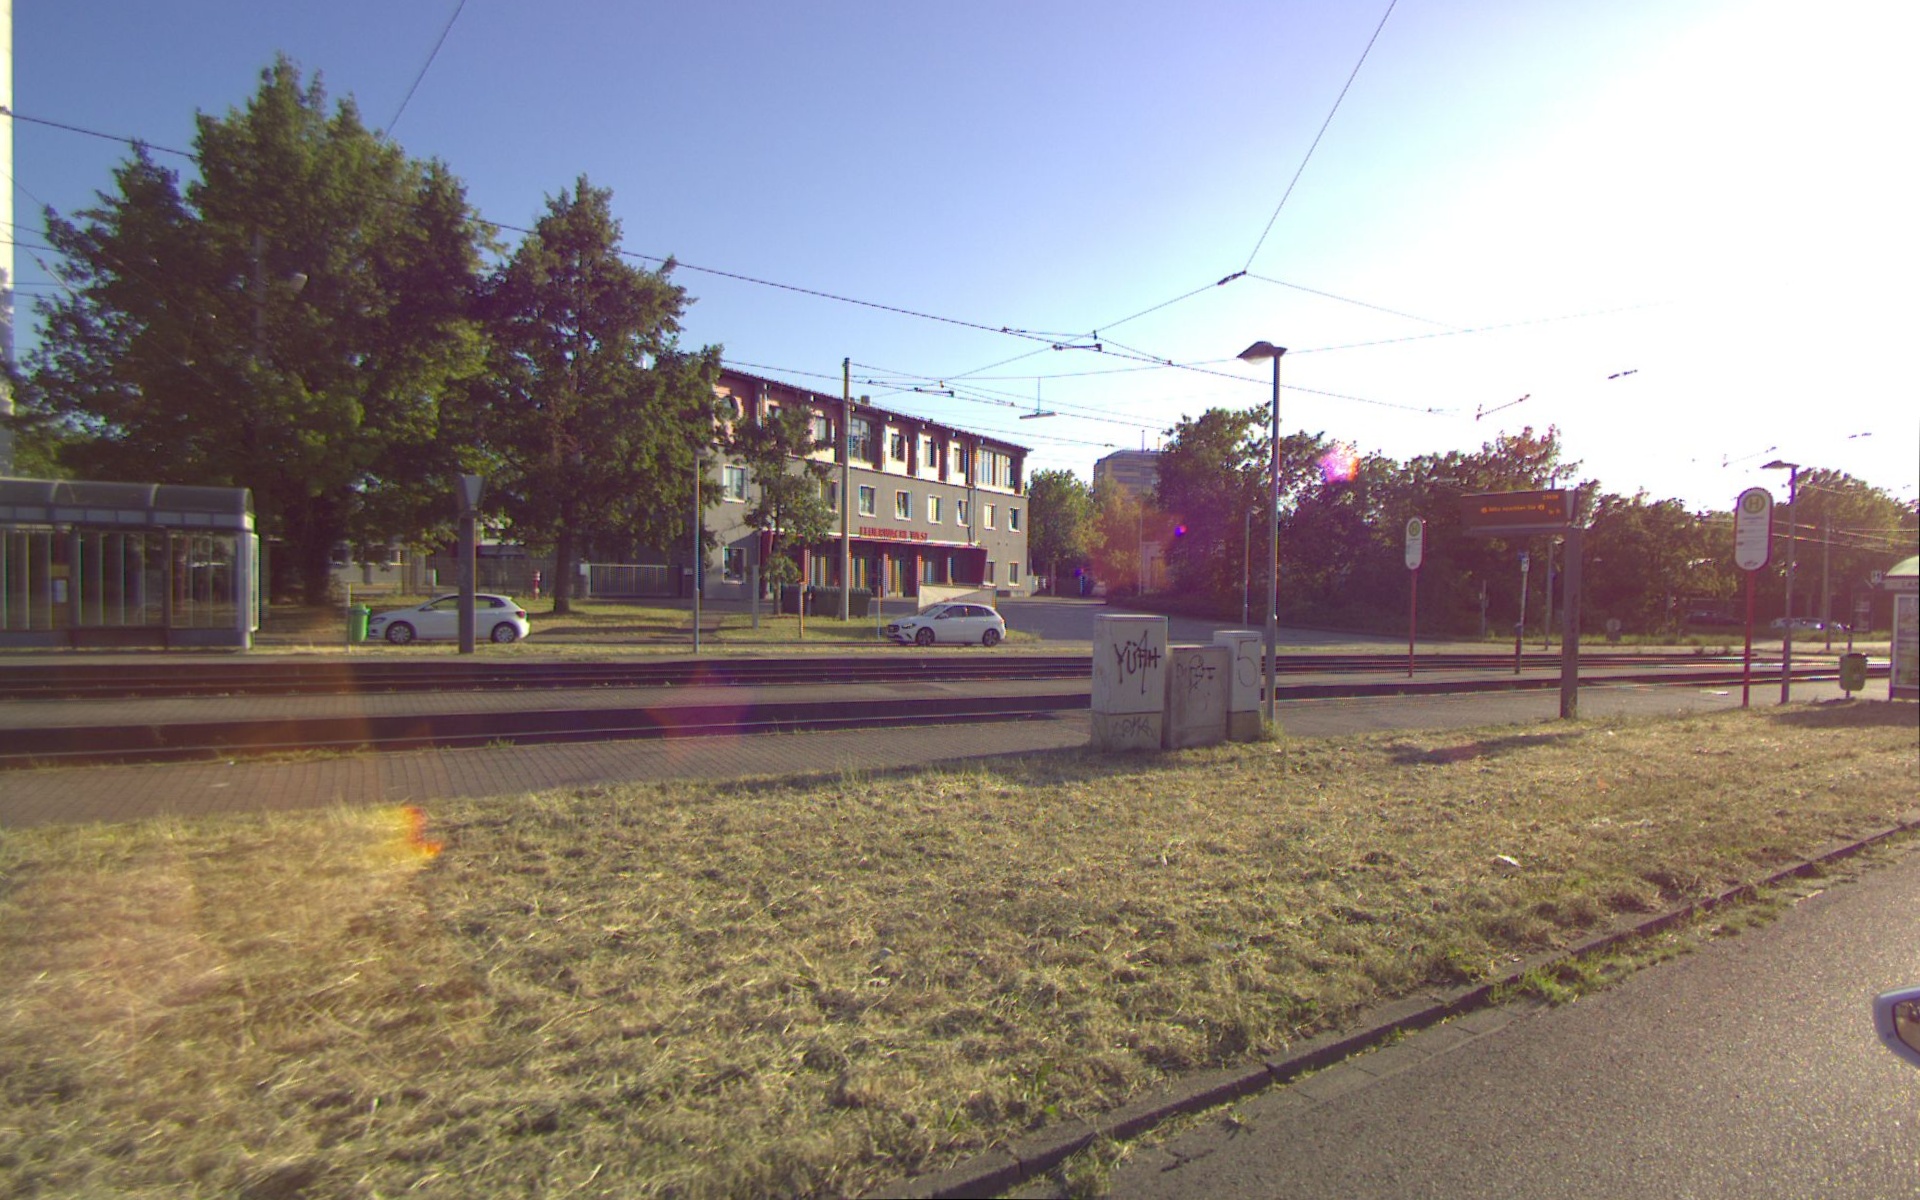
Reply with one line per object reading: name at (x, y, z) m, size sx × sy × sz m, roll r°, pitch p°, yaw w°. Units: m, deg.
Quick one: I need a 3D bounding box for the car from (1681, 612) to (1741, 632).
car at (76.639, 2.247, 102.545) m, size 4.707 × 1.868 × 1.995 m, roll 1°, pitch 0°, yaw 33°

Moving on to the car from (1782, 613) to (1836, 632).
car at (86.769, 2.279, 102.670) m, size 3.931 × 1.773 × 1.995 m, roll 1°, pitch 0°, yaw 33°

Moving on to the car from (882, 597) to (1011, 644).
car at (-0.448, 0.745, 35.742) m, size 4.341 × 1.552 × 1.647 m, roll 1°, pitch 0°, yaw -31°

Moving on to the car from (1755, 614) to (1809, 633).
car at (82.886, 2.308, 101.334) m, size 3.931 × 1.773 × 1.995 m, roll 1°, pitch 0°, yaw 33°

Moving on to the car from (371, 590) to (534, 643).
car at (-14.087, 0.465, 27.941) m, size 3.919 × 1.385 × 1.792 m, roll 2°, pitch 0°, yaw -31°
